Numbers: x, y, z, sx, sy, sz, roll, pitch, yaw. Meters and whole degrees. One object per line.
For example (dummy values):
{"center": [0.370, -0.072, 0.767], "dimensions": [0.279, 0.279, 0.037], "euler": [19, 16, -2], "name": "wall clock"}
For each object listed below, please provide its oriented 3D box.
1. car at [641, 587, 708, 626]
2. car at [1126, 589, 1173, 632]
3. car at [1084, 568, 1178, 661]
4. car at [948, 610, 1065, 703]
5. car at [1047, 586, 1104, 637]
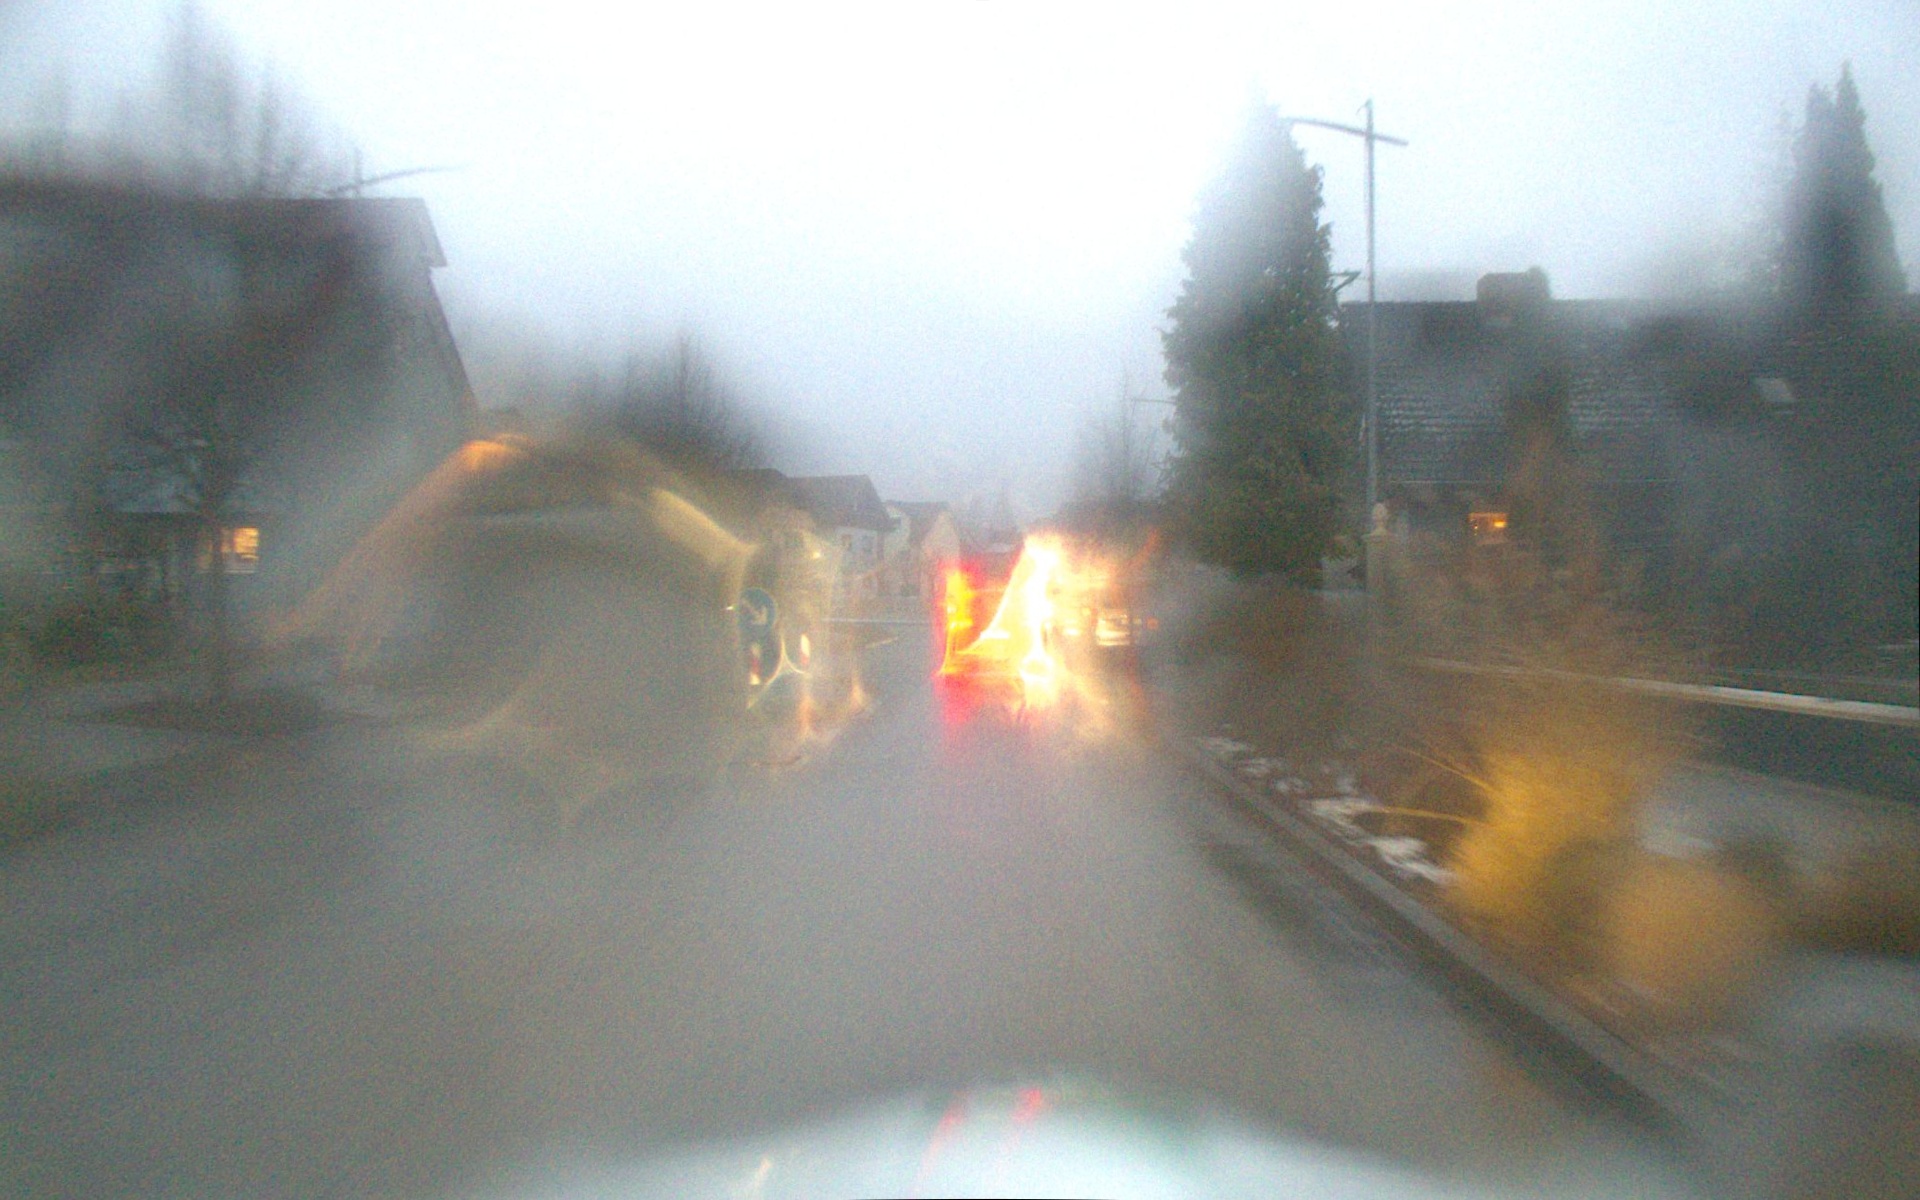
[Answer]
{"center": [-15.759, 0.345, 91.458], "dimensions": [1.952, 2.049, 4.002], "euler": [2, 0, 18], "name": "car"}
{"center": [8.625, 0.454, 75.088], "dimensions": [1.708, 1.816, 4.340], "euler": [-2, 0, 11], "name": "car"}
{"center": [4.117, 0.310, 40.606], "dimensions": [1.936, 2.049, 5.747], "euler": [-2, 0, 3], "name": "car"}
{"center": [0.768, 0.959, 29.785], "dimensions": [1.953, 1.552, 3.999], "euler": [0, 0, 0], "name": "car"}
{"center": [4.823, 0.502, 68.783], "dimensions": [1.951, 2.049, 4.003], "euler": [1, -1, 10], "name": "car"}
